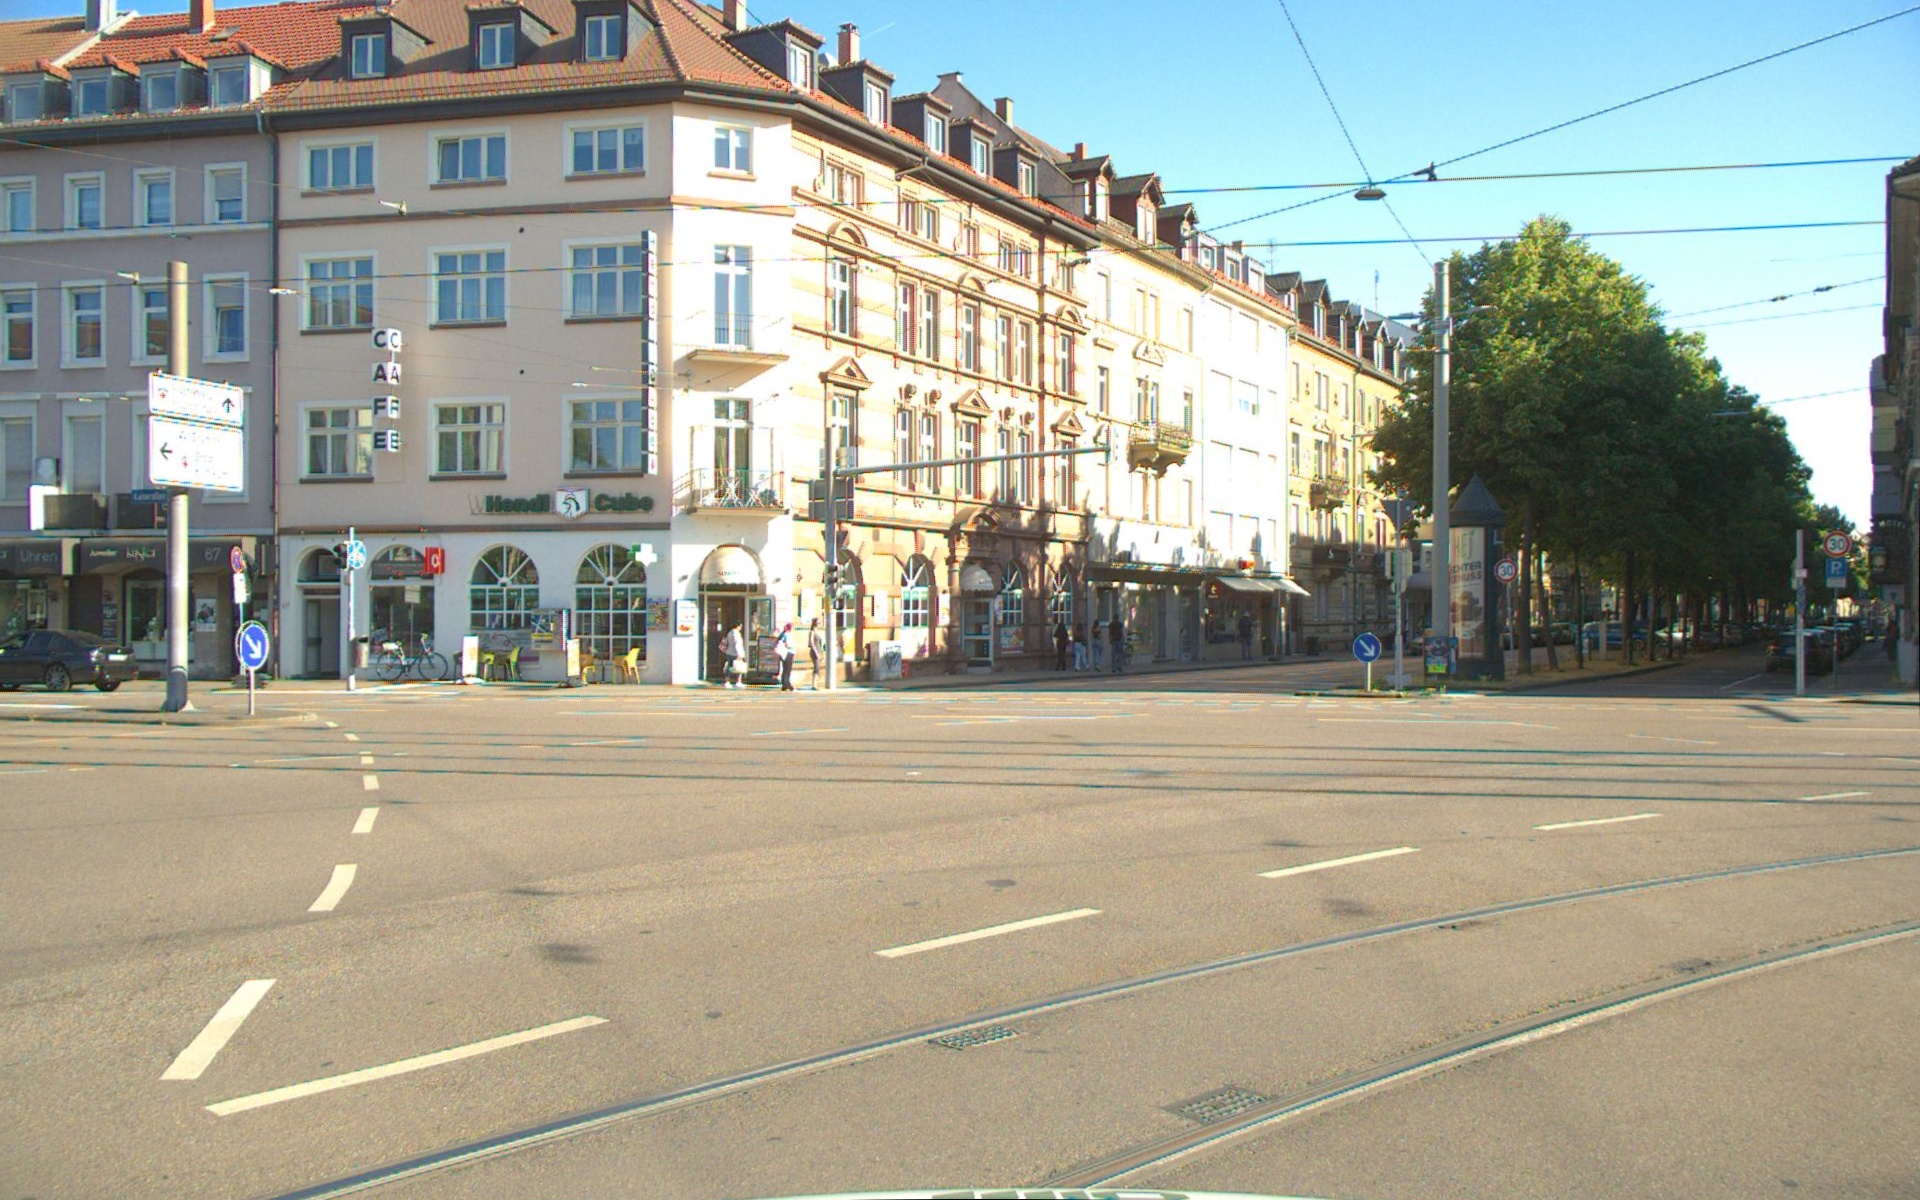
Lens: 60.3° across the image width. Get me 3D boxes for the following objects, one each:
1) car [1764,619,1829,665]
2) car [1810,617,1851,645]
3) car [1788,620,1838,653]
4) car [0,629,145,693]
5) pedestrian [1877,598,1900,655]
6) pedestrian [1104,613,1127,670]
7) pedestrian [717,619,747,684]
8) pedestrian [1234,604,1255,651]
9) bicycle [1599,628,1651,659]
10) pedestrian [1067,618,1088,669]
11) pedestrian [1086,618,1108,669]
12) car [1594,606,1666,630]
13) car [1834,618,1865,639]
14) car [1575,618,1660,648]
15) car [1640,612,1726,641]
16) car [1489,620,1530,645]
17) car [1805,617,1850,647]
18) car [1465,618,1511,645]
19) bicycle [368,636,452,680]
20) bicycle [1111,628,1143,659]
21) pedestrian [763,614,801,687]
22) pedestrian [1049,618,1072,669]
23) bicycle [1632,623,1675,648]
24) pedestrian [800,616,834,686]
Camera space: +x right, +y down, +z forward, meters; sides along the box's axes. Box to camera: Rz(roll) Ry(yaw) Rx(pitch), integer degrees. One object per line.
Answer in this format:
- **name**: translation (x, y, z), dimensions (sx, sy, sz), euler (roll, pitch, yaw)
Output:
- **car**: translation (29.362, 1.437, 58.077), dimensions (1.955, 1.523, 4.029), euler (0, 0, 27)
- **car**: translation (50.162, 1.761, 95.278), dimensions (1.956, 1.523, 4.025), euler (0, 0, 30)
- **car**: translation (41.756, 1.741, 80.926), dimensions (1.956, 1.523, 4.025), euler (0, 0, 30)
- **car**: translation (-22.108, 1.442, 39.542), dimensions (4.540, 1.465, 1.746), euler (0, -1, 10)
- **pedestrian**: translation (28.462, 0.806, 50.698), dimensions (0.580, 1.671, 0.577), euler (-1, -8, 32)
- **pedestrian**: translation (5.198, 1.374, 55.278), dimensions (0.569, 1.868, 0.632), euler (-1, 0, 29)
- **pedestrian**: translation (-5.489, 1.231, 39.845), dimensions (0.645, 1.551, 0.694), euler (0, 0, -4)
- **pedestrian**: translation (11.864, 1.157, 68.928), dimensions (0.669, 1.942, 0.632), euler (-1, 0, 29)
- **bicycle**: translation (23.988, 1.562, 59.687), dimensions (0.574, 1.086, 1.935), euler (0, 0, -23)
- **pedestrian**: translation (3.904, 1.449, 54.733), dimensions (0.539, 1.670, 0.537), euler (-1, 0, 24)
- **pedestrian**: translation (4.546, 1.441, 54.941), dimensions (0.539, 1.670, 0.632), euler (-1, 0, 24)
- **car**: translation (43.798, 1.184, 108.127), dimensions (3.928, 1.572, 1.989), euler (-1, 0, 41)
- **car**: translation (67.521, 2.183, 125.503), dimensions (1.956, 1.523, 4.025), euler (0, 0, 30)
- **car**: translation (36.046, 1.784, 90.687), dimensions (3.928, 1.572, 1.989), euler (-1, 0, 41)
- **car**: translation (39.643, 1.445, 90.745), dimensions (3.932, 1.572, 1.986), euler (-1, 0, 44)
- **car**: translation (35.585, 2.084, 107.087), dimensions (1.955, 1.523, 4.029), euler (0, 0, 27)
- **car**: translation (46.541, 1.679, 88.735), dimensions (1.956, 1.523, 4.025), euler (0, 0, 30)
- **car**: translation (31.582, 1.871, 98.857), dimensions (1.955, 1.523, 4.029), euler (0, 0, 27)
- **bicycle**: translation (-13.805, 1.446, 41.528), dimensions (1.902, 1.086, 0.584), euler (0, 0, 6)
- **bicycle**: translation (6.126, 1.585, 60.579), dimensions (0.485, 1.086, 1.767), euler (-1, 0, 29)
- **pedestrian**: translation (-4.142, 1.169, 38.544), dimensions (0.662, 1.670, 0.578), euler (-1, 0, 26)
- **pedestrian**: translation (3.338, 1.431, 54.903), dimensions (0.614, 1.670, 0.537), euler (-1, 0, 25)
- **bicycle**: translation (31.400, 1.588, 74.903), dimensions (0.574, 1.086, 1.935), euler (0, 0, -23)
- **pedestrian**: translation (-3.445, 1.217, 39.913), dimensions (0.618, 1.670, 0.552), euler (-1, 0, 26)
